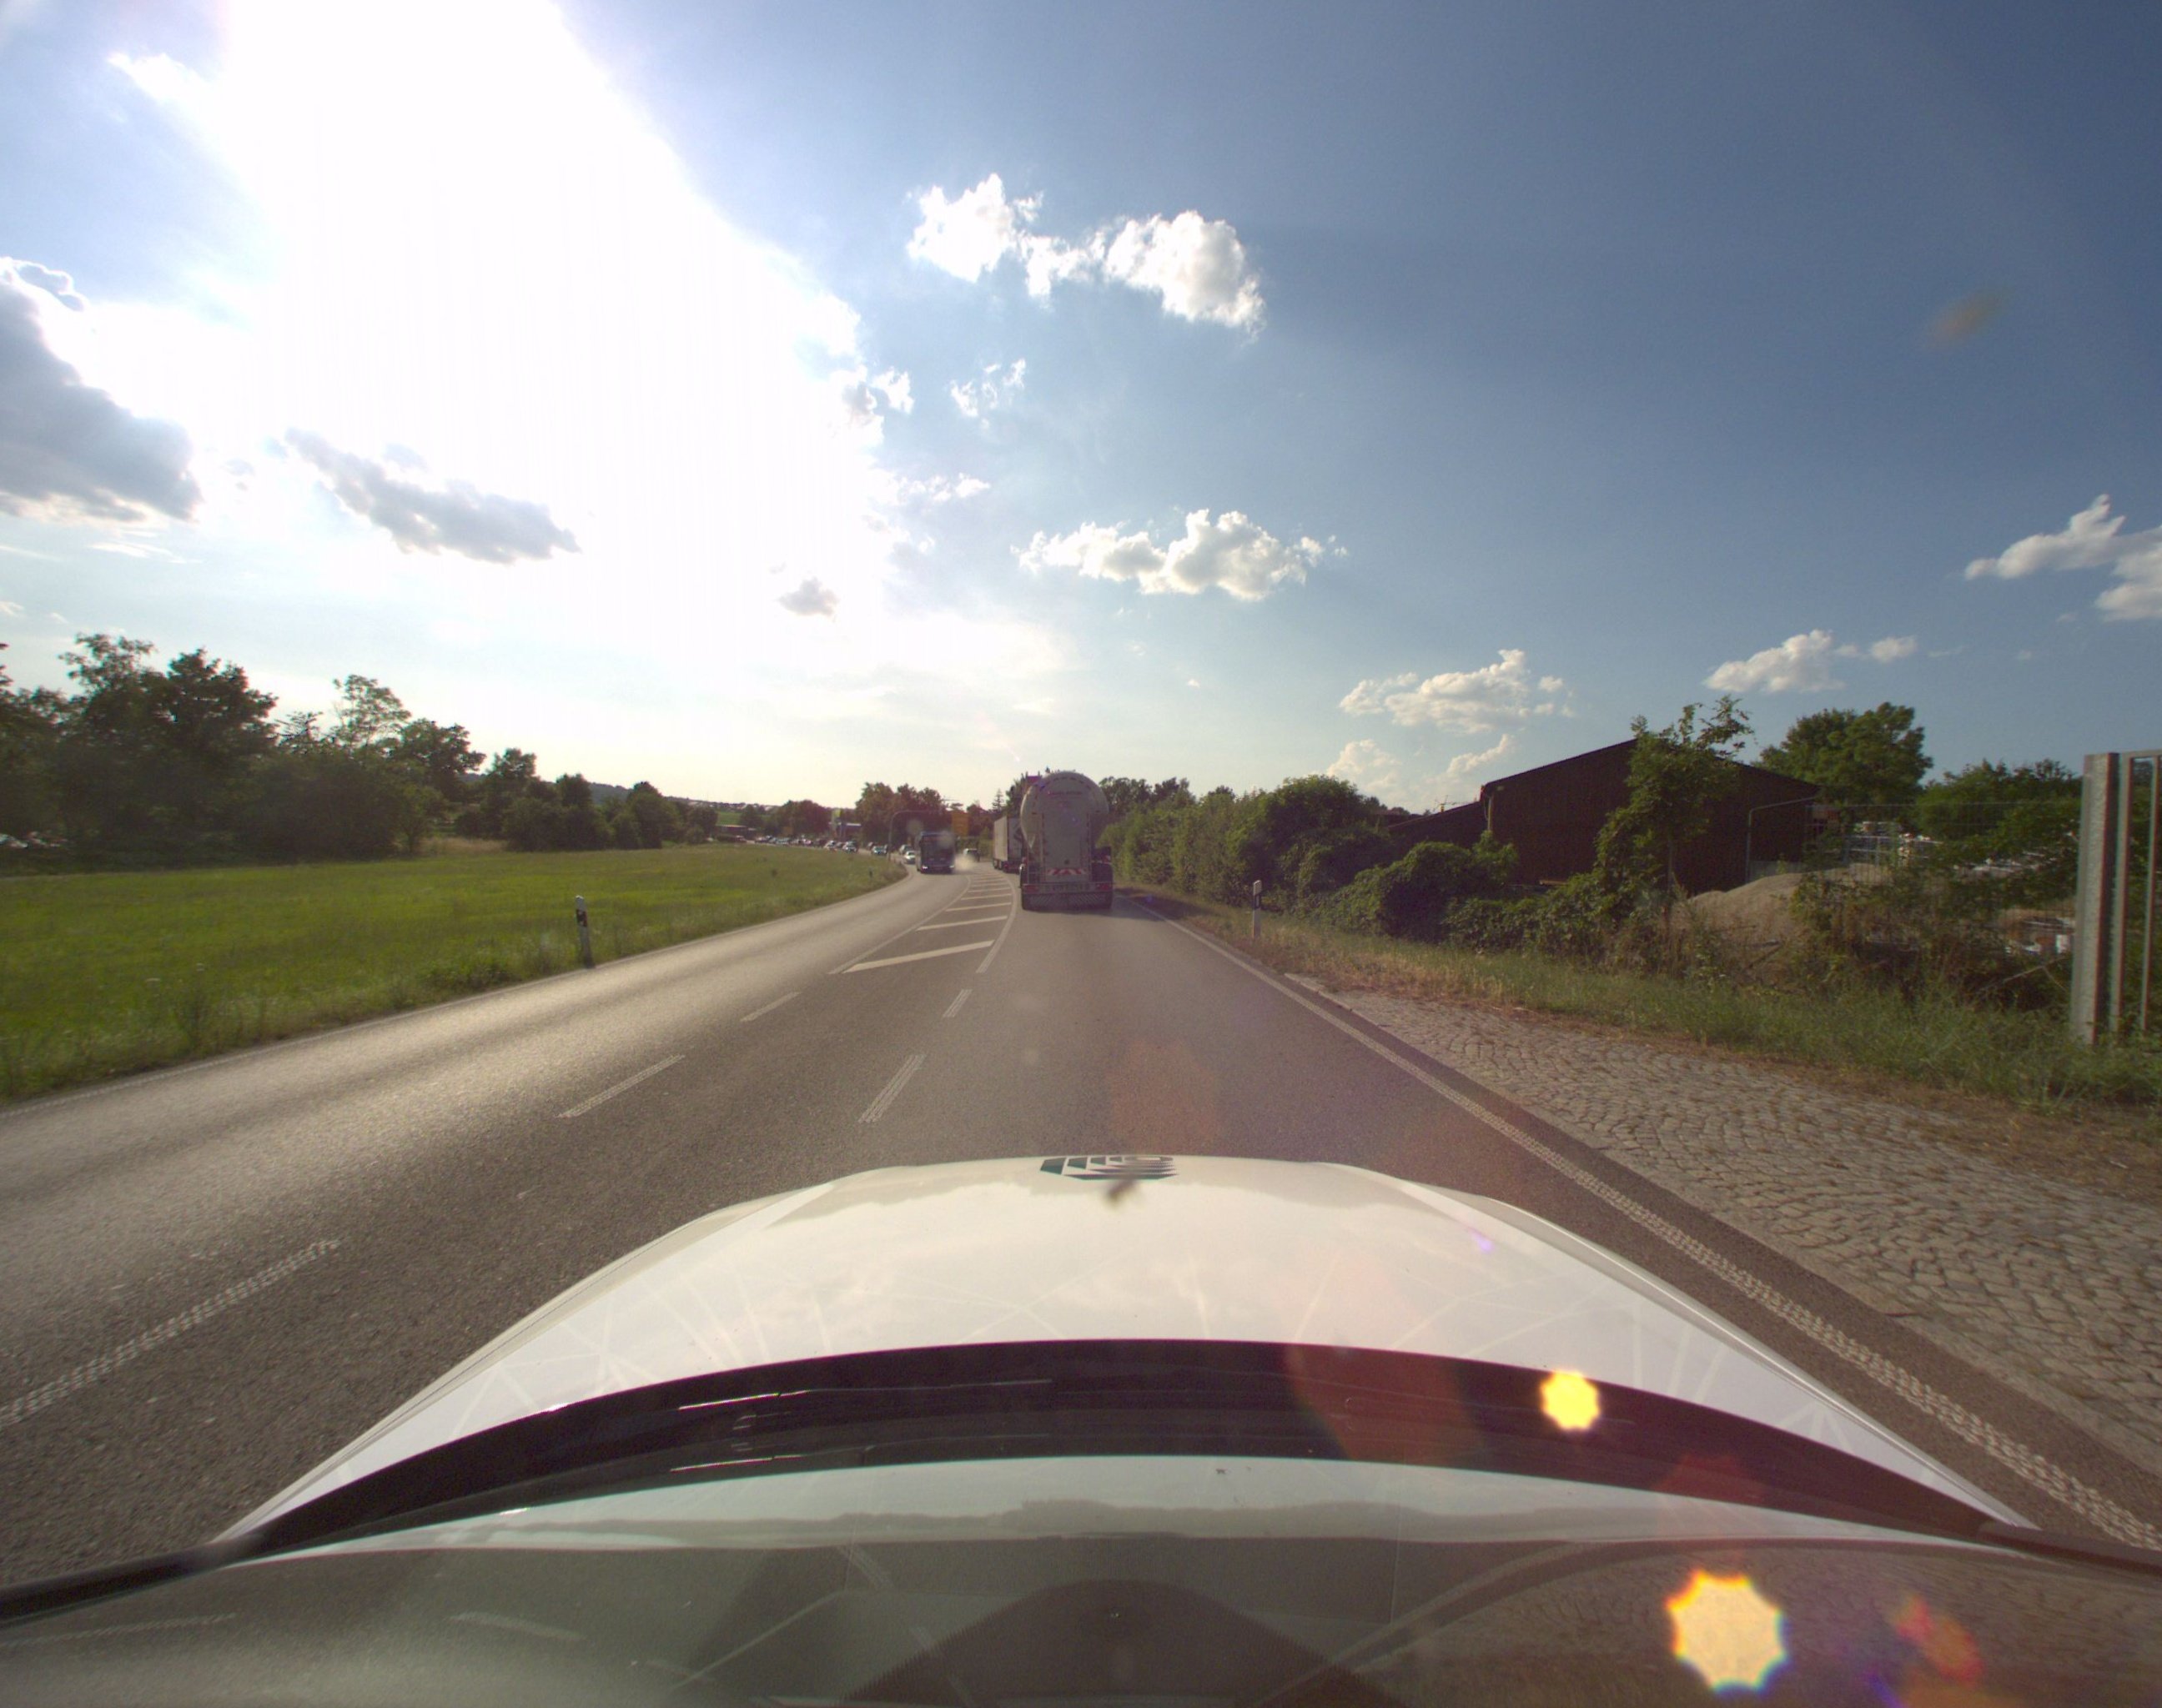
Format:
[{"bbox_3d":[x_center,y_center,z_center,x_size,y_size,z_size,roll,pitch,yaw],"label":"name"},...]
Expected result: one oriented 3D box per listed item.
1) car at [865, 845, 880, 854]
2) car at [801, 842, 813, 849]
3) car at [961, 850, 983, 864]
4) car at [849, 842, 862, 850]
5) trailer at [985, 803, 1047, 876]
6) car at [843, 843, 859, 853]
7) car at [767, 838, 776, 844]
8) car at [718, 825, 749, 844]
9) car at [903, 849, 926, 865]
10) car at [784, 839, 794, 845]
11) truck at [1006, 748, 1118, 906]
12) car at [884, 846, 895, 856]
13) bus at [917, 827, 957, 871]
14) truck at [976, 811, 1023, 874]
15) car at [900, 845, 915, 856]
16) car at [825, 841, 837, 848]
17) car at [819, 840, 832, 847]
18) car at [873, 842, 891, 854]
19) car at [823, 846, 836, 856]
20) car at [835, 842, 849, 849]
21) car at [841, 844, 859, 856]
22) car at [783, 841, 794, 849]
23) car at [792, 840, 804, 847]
[{"bbox_3d":[-41.742,-0.907,163.098,2.096,1.599,3.966,0,0,-27],"label":"car"},{"bbox_3d":[-63.542,-1.949,188.911,2.097,1.599,3.964,0,0,-28],"label":"car"},{"bbox_3d":[-12.770,0.354,95.303,1.998,1.656,3.978,0,-1,-16],"label":"car"},{"bbox_3d":[-45.540,-1.524,164.296,1.891,1.599,3.966,0,0,-26],"label":"car"},{"bbox_3d":[-4.949,-0.894,59.734,2.968,4.882,10.237,0,-1,-14],"label":"trailer"},{"bbox_3d":[-38.882,-0.998,137.517,2.003,1.724,4.390,0,1,-25],"label":"car"},{"bbox_3d":[-78.060,-3.211,205.308,1.891,1.599,3.966,0,0,-26],"label":"car"},{"bbox_3d":[-95.092,-5.190,222.583,3.572,5.059,13.082,0,0,-43],"label":"car"},{"bbox_3d":[-18.249,0.325,89.163,1.847,1.656,3.973,0,-1,-20],"label":"car"},{"bbox_3d":[-71.527,-2.896,199.644,1.891,1.599,3.966,0,0,-26],"label":"car"},{"bbox_3d":[-0.769,-0.640,27.399,2.969,4.175,11.649,0,-1,-3],"label":"truck"},{"bbox_3d":[-35.198,-0.521,149.921,1.524,1.656,3.847,0,-1,-19],"label":"car"},{"bbox_3d":[-11.666,-0.275,65.219,2.796,3.181,12.076,0,-1,-12],"label":"bus"},{"bbox_3d":[-6.795,-0.873,66.999,2.967,4.887,6.399,0,-1,-14],"label":"truck"},{"bbox_3d":[-28.455,-0.528,133.611,1.847,1.656,3.973,0,-1,-19],"label":"car"},{"bbox_3d":[-57.378,-2.141,186.785,1.892,1.599,3.966,0,0,-26],"label":"car"},{"bbox_3d":[-56.139,-2.247,178.989,2.096,1.599,3.966,0,0,-27],"label":"car"},{"bbox_3d":[-28.642,-0.821,117.244,1.850,1.656,3.967,0,-1,-25],"label":"car"},{"bbox_3d":[-47.549,-0.547,154.228,1.850,1.656,3.967,0,-1,-25],"label":"car"},{"bbox_3d":[-50.255,-1.760,171.225,2.096,1.599,3.966,0,0,-27],"label":"car"},{"bbox_3d":[-33.391,-0.498,117.696,1.850,1.656,3.967,0,-1,-25],"label":"car"},{"bbox_3d":[-65.678,-2.093,183.012,1.851,1.656,3.966,0,-1,-26],"label":"car"},{"bbox_3d":[-67.636,-2.507,194.621,1.893,1.599,3.962,0,0,-29],"label":"car"}]
